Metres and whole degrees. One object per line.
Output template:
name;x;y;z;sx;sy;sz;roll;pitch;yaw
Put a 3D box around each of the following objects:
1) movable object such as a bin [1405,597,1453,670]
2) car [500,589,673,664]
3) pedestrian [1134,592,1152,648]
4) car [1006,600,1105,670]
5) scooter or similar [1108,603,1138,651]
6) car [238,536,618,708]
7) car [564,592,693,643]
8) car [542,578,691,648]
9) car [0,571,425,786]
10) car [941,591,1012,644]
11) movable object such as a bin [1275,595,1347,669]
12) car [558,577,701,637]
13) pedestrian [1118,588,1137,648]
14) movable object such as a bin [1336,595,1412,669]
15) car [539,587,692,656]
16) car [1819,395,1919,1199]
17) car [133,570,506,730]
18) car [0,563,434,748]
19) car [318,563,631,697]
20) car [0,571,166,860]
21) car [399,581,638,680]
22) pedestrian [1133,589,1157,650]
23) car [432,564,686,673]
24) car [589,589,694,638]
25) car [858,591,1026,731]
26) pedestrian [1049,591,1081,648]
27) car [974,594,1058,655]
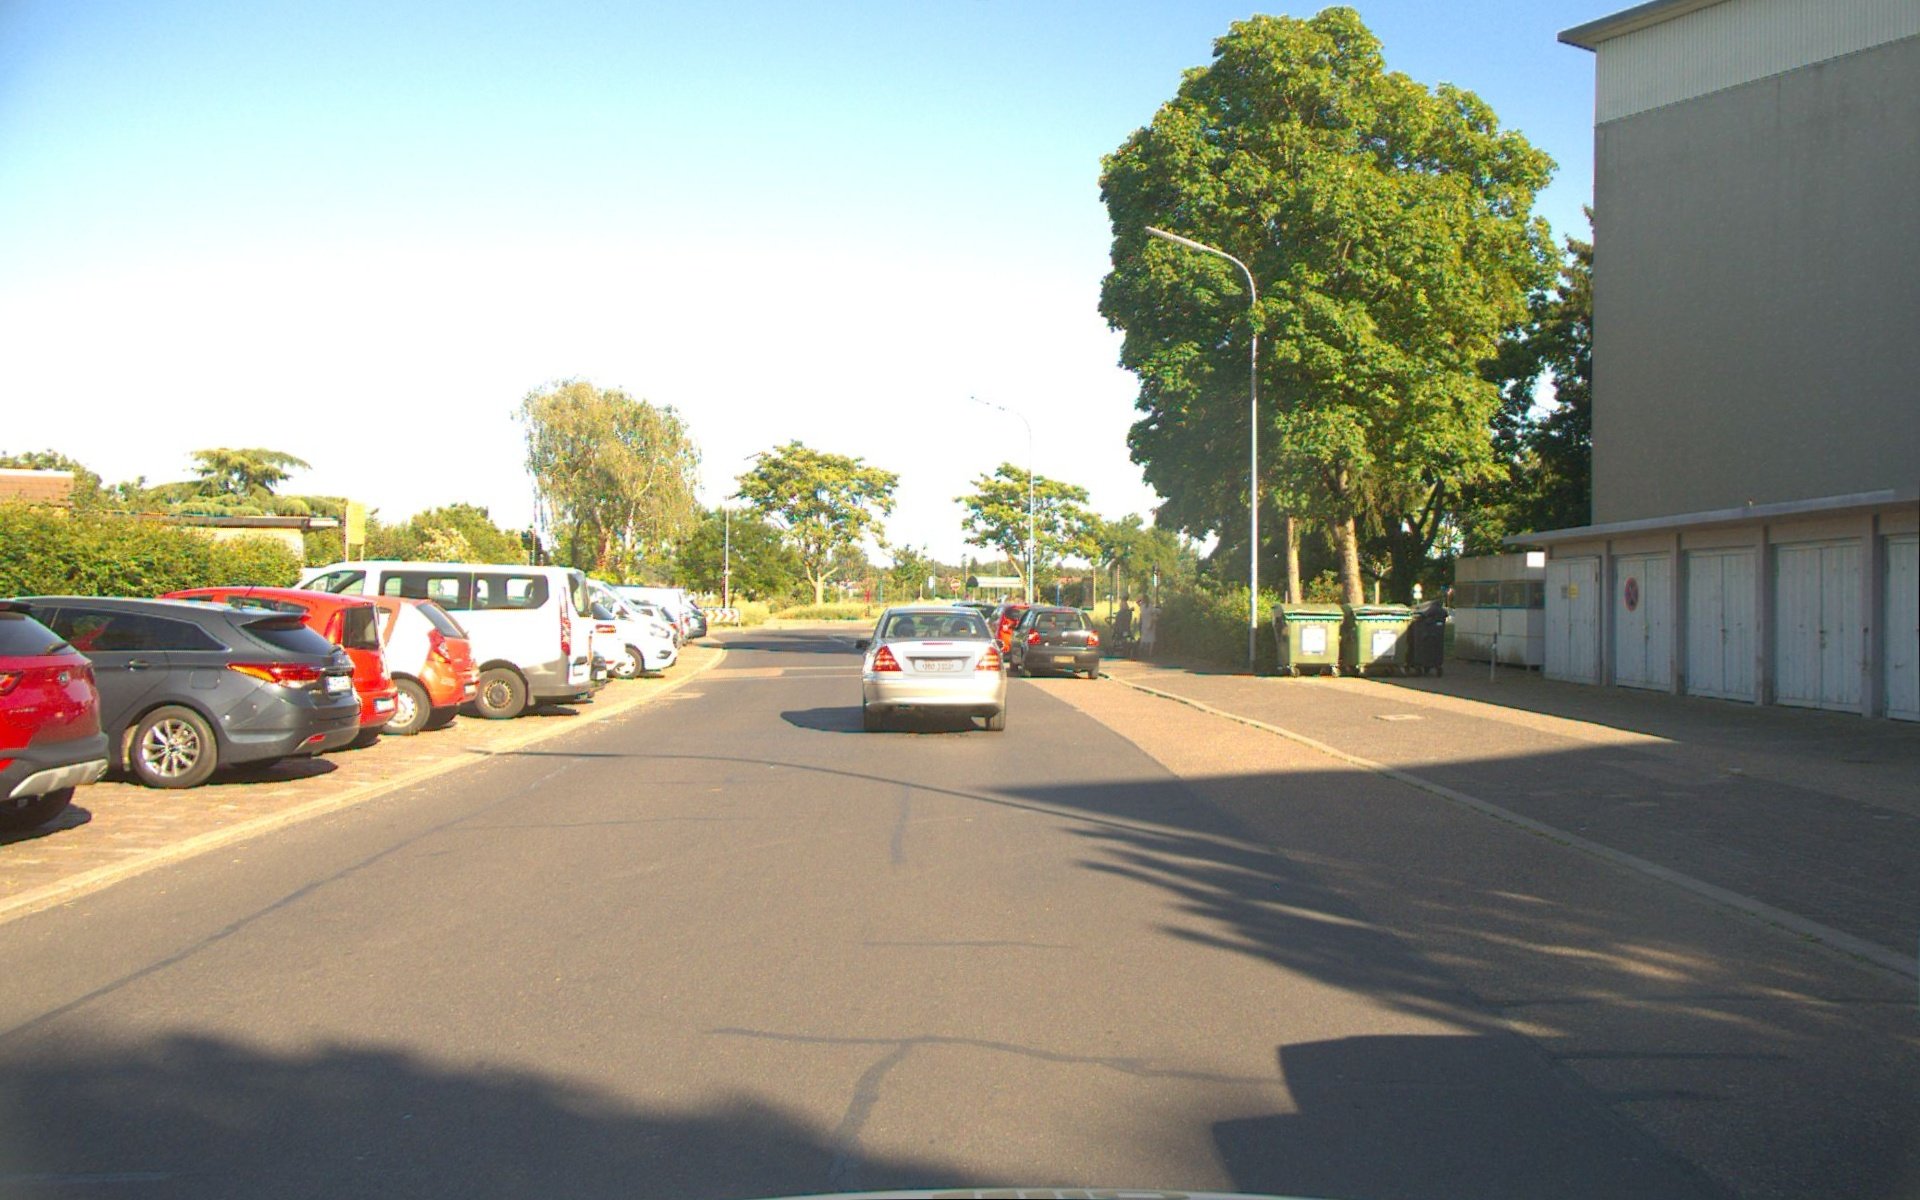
movable object such as a bin;9.357;0.664;33.018;0.709;1.440;0.688;1;-1;-4
car;-8.229;0.580;36.631;3.444;1.471;1.635;3;-1;-4
pedestrian;5.004;0.544;45.181;0.355;1.529;0.500;-1;-1;-8
car;1.990;0.733;35.520;1.615;1.427;3.878;0;-1;-5
scooter or similar;4.298;0.697;43.539;0.611;1.249;0.904;0;-1;-6
car;-7.025;0.302;22.251;4.389;2.011;1.999;3;-1;-3
car;-11.088;0.595;55.530;4.059;1.518;1.922;2;-1;-8
car;-9.555;0.354;46.278;3.904;1.811;1.921;2;0;-9
car;-6.941;0.577;13.601;4.452;1.505;1.747;3;0;-2
car;0.486;0.557;52.735;1.698;1.570;3.782;1;-1;-8
movable object such as a bin;6.998;0.634;33.016;1.213;1.428;0.914;1;-1;-4
car;-11.515;0.255;57.881;4.784;1.949;1.995;1;-1;-11
pedestrian;4.525;0.486;44.715;0.471;1.592;0.597;-1;-1;4
movable object such as a bin;8.283;0.641;33.120;1.249;1.440;0.950;1;-1;-4
car;-8.522;0.532;41.077;3.444;1.515;1.635;3;-1;-4
car;3.197;0.530;1.512;1.868;1.872;5.272;3;0;-2
car;-7.297;0.548;19.129;3.529;1.594;1.851;3;0;-2
car;-7.358;0.521;16.565;3.529;1.594;1.881;3;0;-2
car;-7.170;0.447;24.759;4.068;1.736;1.883;3;-1;-2
car;-7.048;0.532;9.635;3.907;1.505;1.790;3;0;-2
car;-8.192;0.569;30.974;3.907;1.610;1.883;3;-1;-2
pedestrian;4.876;0.516;43.623;0.476;1.592;0.468;-1;-1;-10
car;-8.099;0.388;33.798;4.696;1.954;2.079;3;-1;-5
car;-11.655;0.497;60.681;3.543;1.635;1.731;3;-1;-6
car;-0.324;0.663;20.340;1.780;1.489;4.357;2;0;-4
pedestrian;2.997;0.549;47.264;0.772;1.592;0.569;3;-1;-6
car;1.411;0.629;42.983;1.546;1.472;3.782;1;-1;-8
